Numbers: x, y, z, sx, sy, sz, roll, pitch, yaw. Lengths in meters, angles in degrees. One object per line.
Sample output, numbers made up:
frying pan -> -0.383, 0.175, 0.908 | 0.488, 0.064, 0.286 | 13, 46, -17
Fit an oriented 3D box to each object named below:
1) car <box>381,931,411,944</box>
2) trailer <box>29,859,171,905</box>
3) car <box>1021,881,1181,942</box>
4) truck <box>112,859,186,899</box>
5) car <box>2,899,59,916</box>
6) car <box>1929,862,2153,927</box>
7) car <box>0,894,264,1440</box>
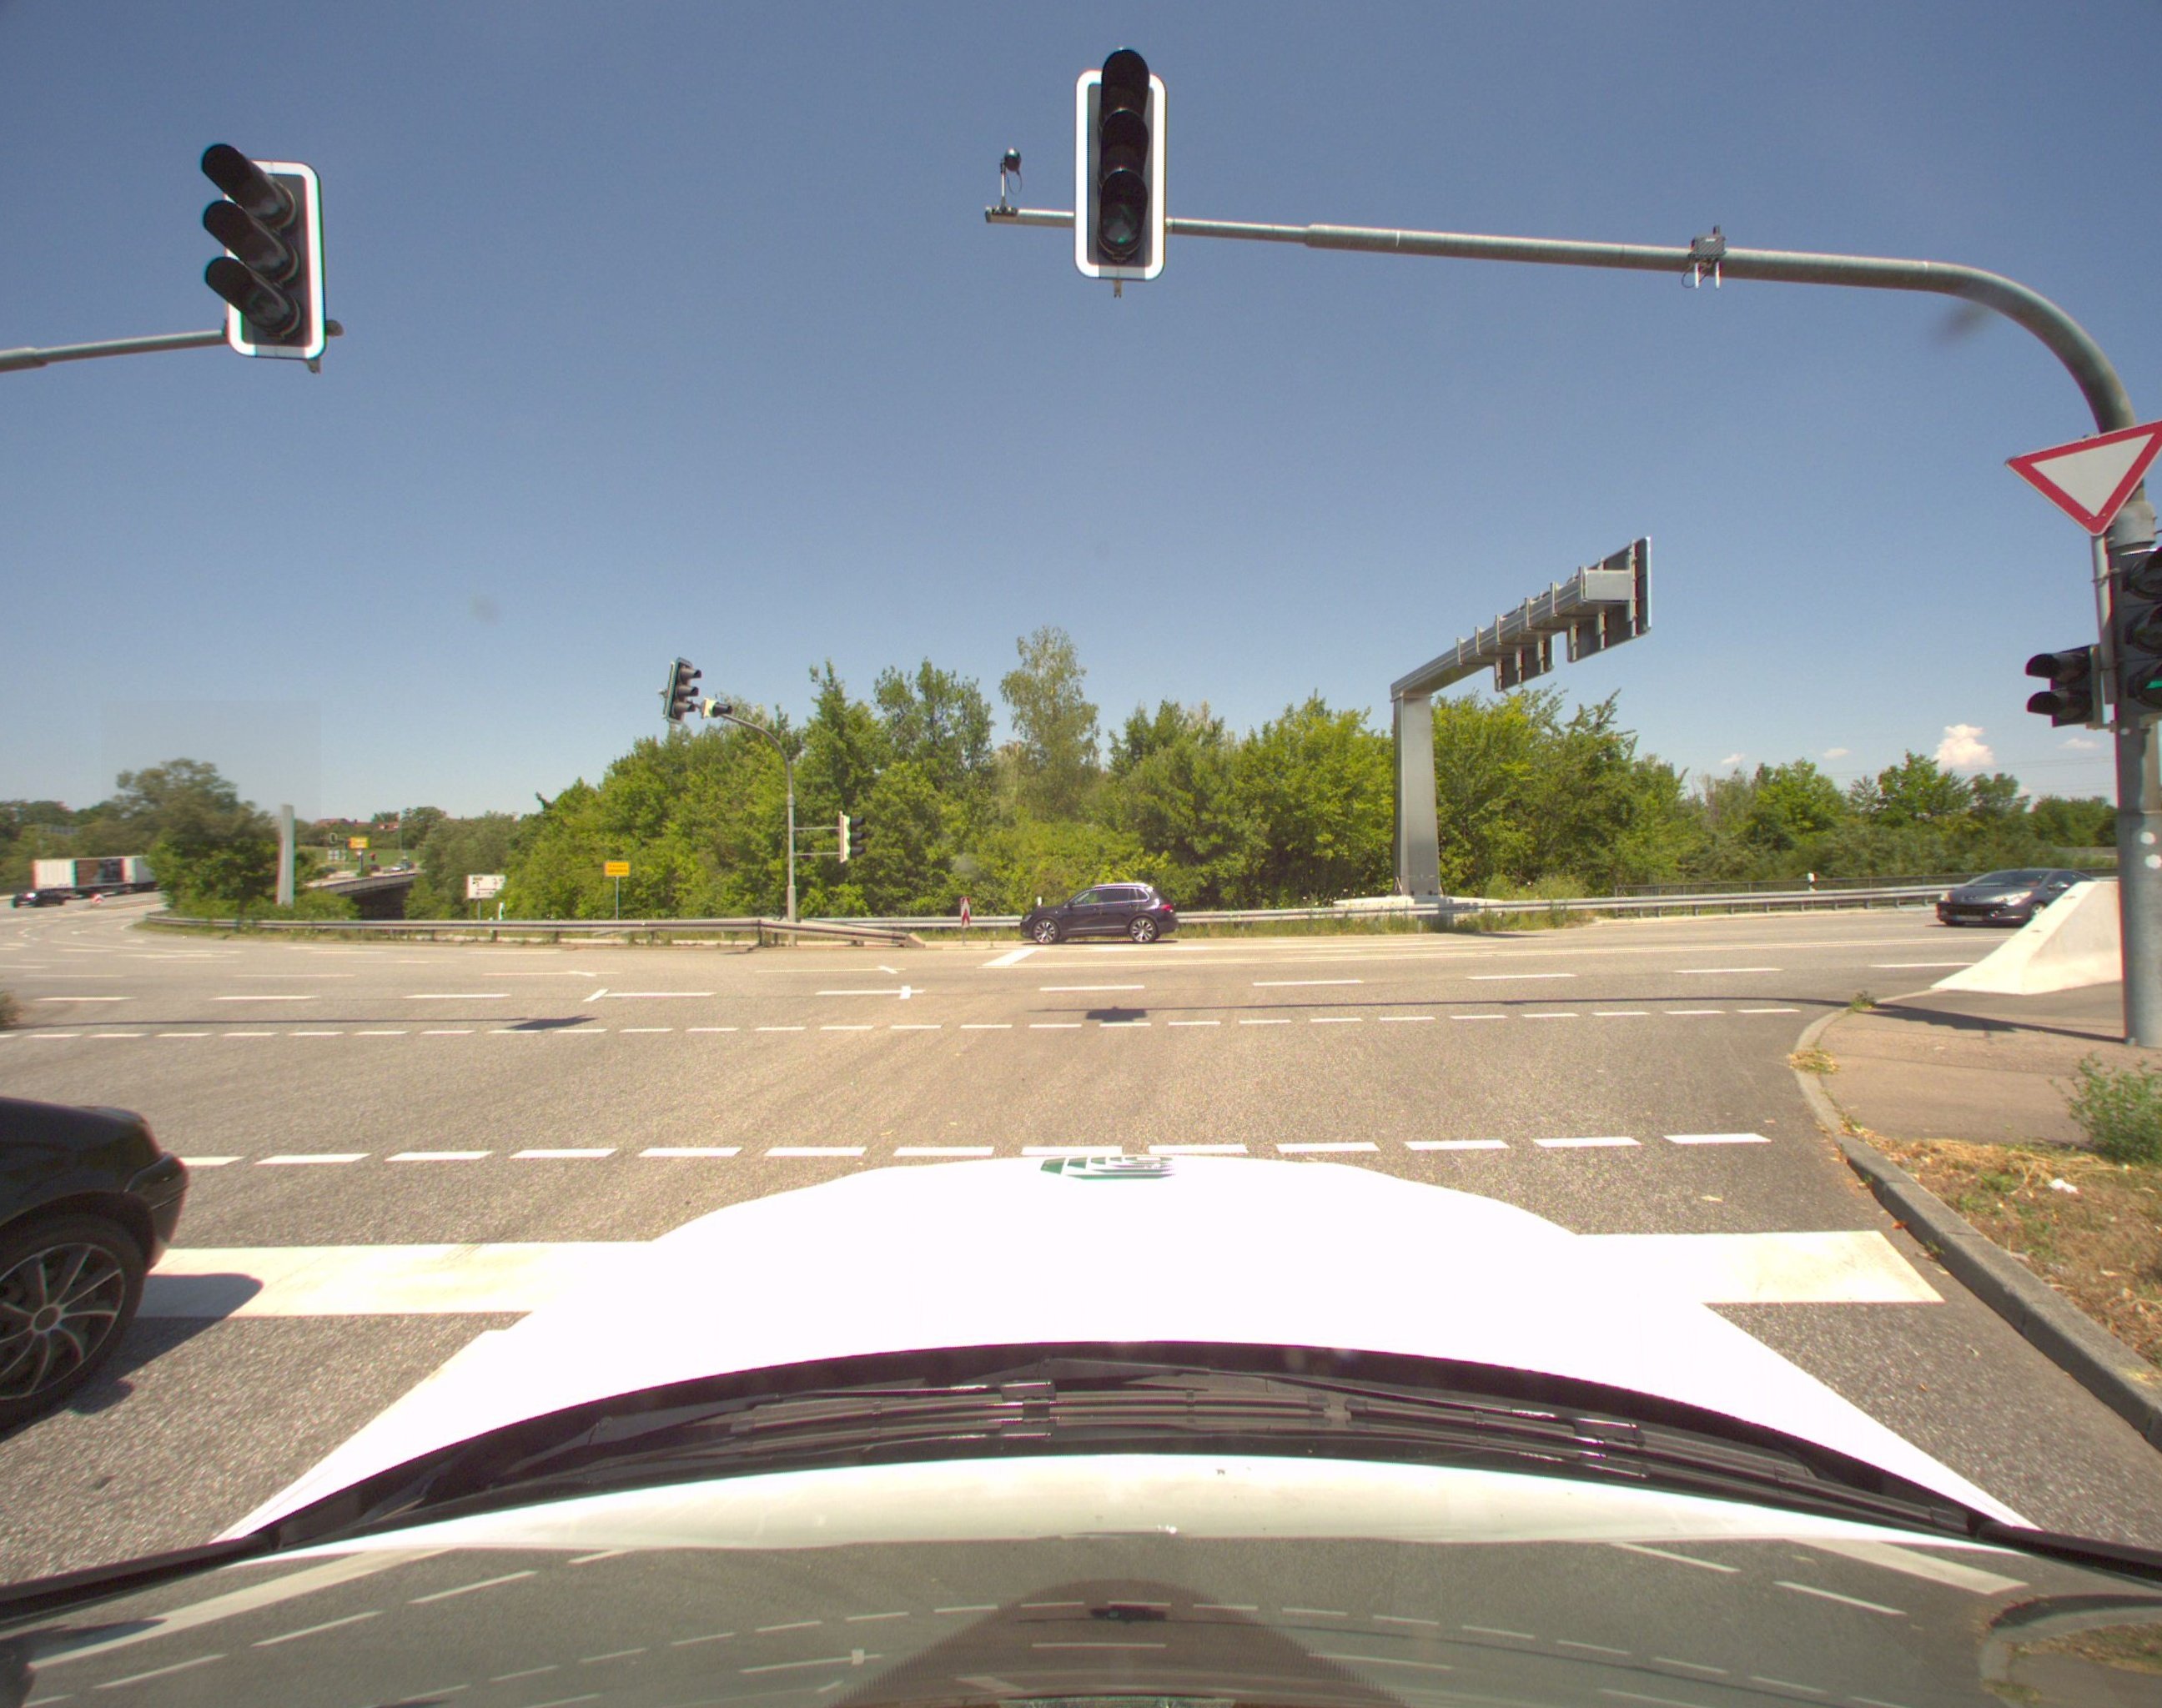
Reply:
car -> -81.597, 9.960, 96.972 | 4.356, 1.434, 1.823 | -3, -5, 37
trailer -> -101.735, 2.687, 85.033 | 3.247, 4.248, 15.279 | 0, 0, -25
car -> 0.611, 1.613, 22.949 | 4.235, 1.632, 1.909 | -1, -4, 10
truck -> -104.996, 2.709, 91.882 | 3.248, 4.248, 6.185 | 0, 0, -25
car -> -91.332, 4.682, 70.851 | 1.819, 1.434, 3.886 | 2, -4, -34
car -> 23.269, 0.965, 19.802 | 3.954, 1.352, 1.646 | -2, -3, -9
car -> -3.618, 0.835, 1.170 | 1.615, 1.407, 3.297 | -1, -1, -2
